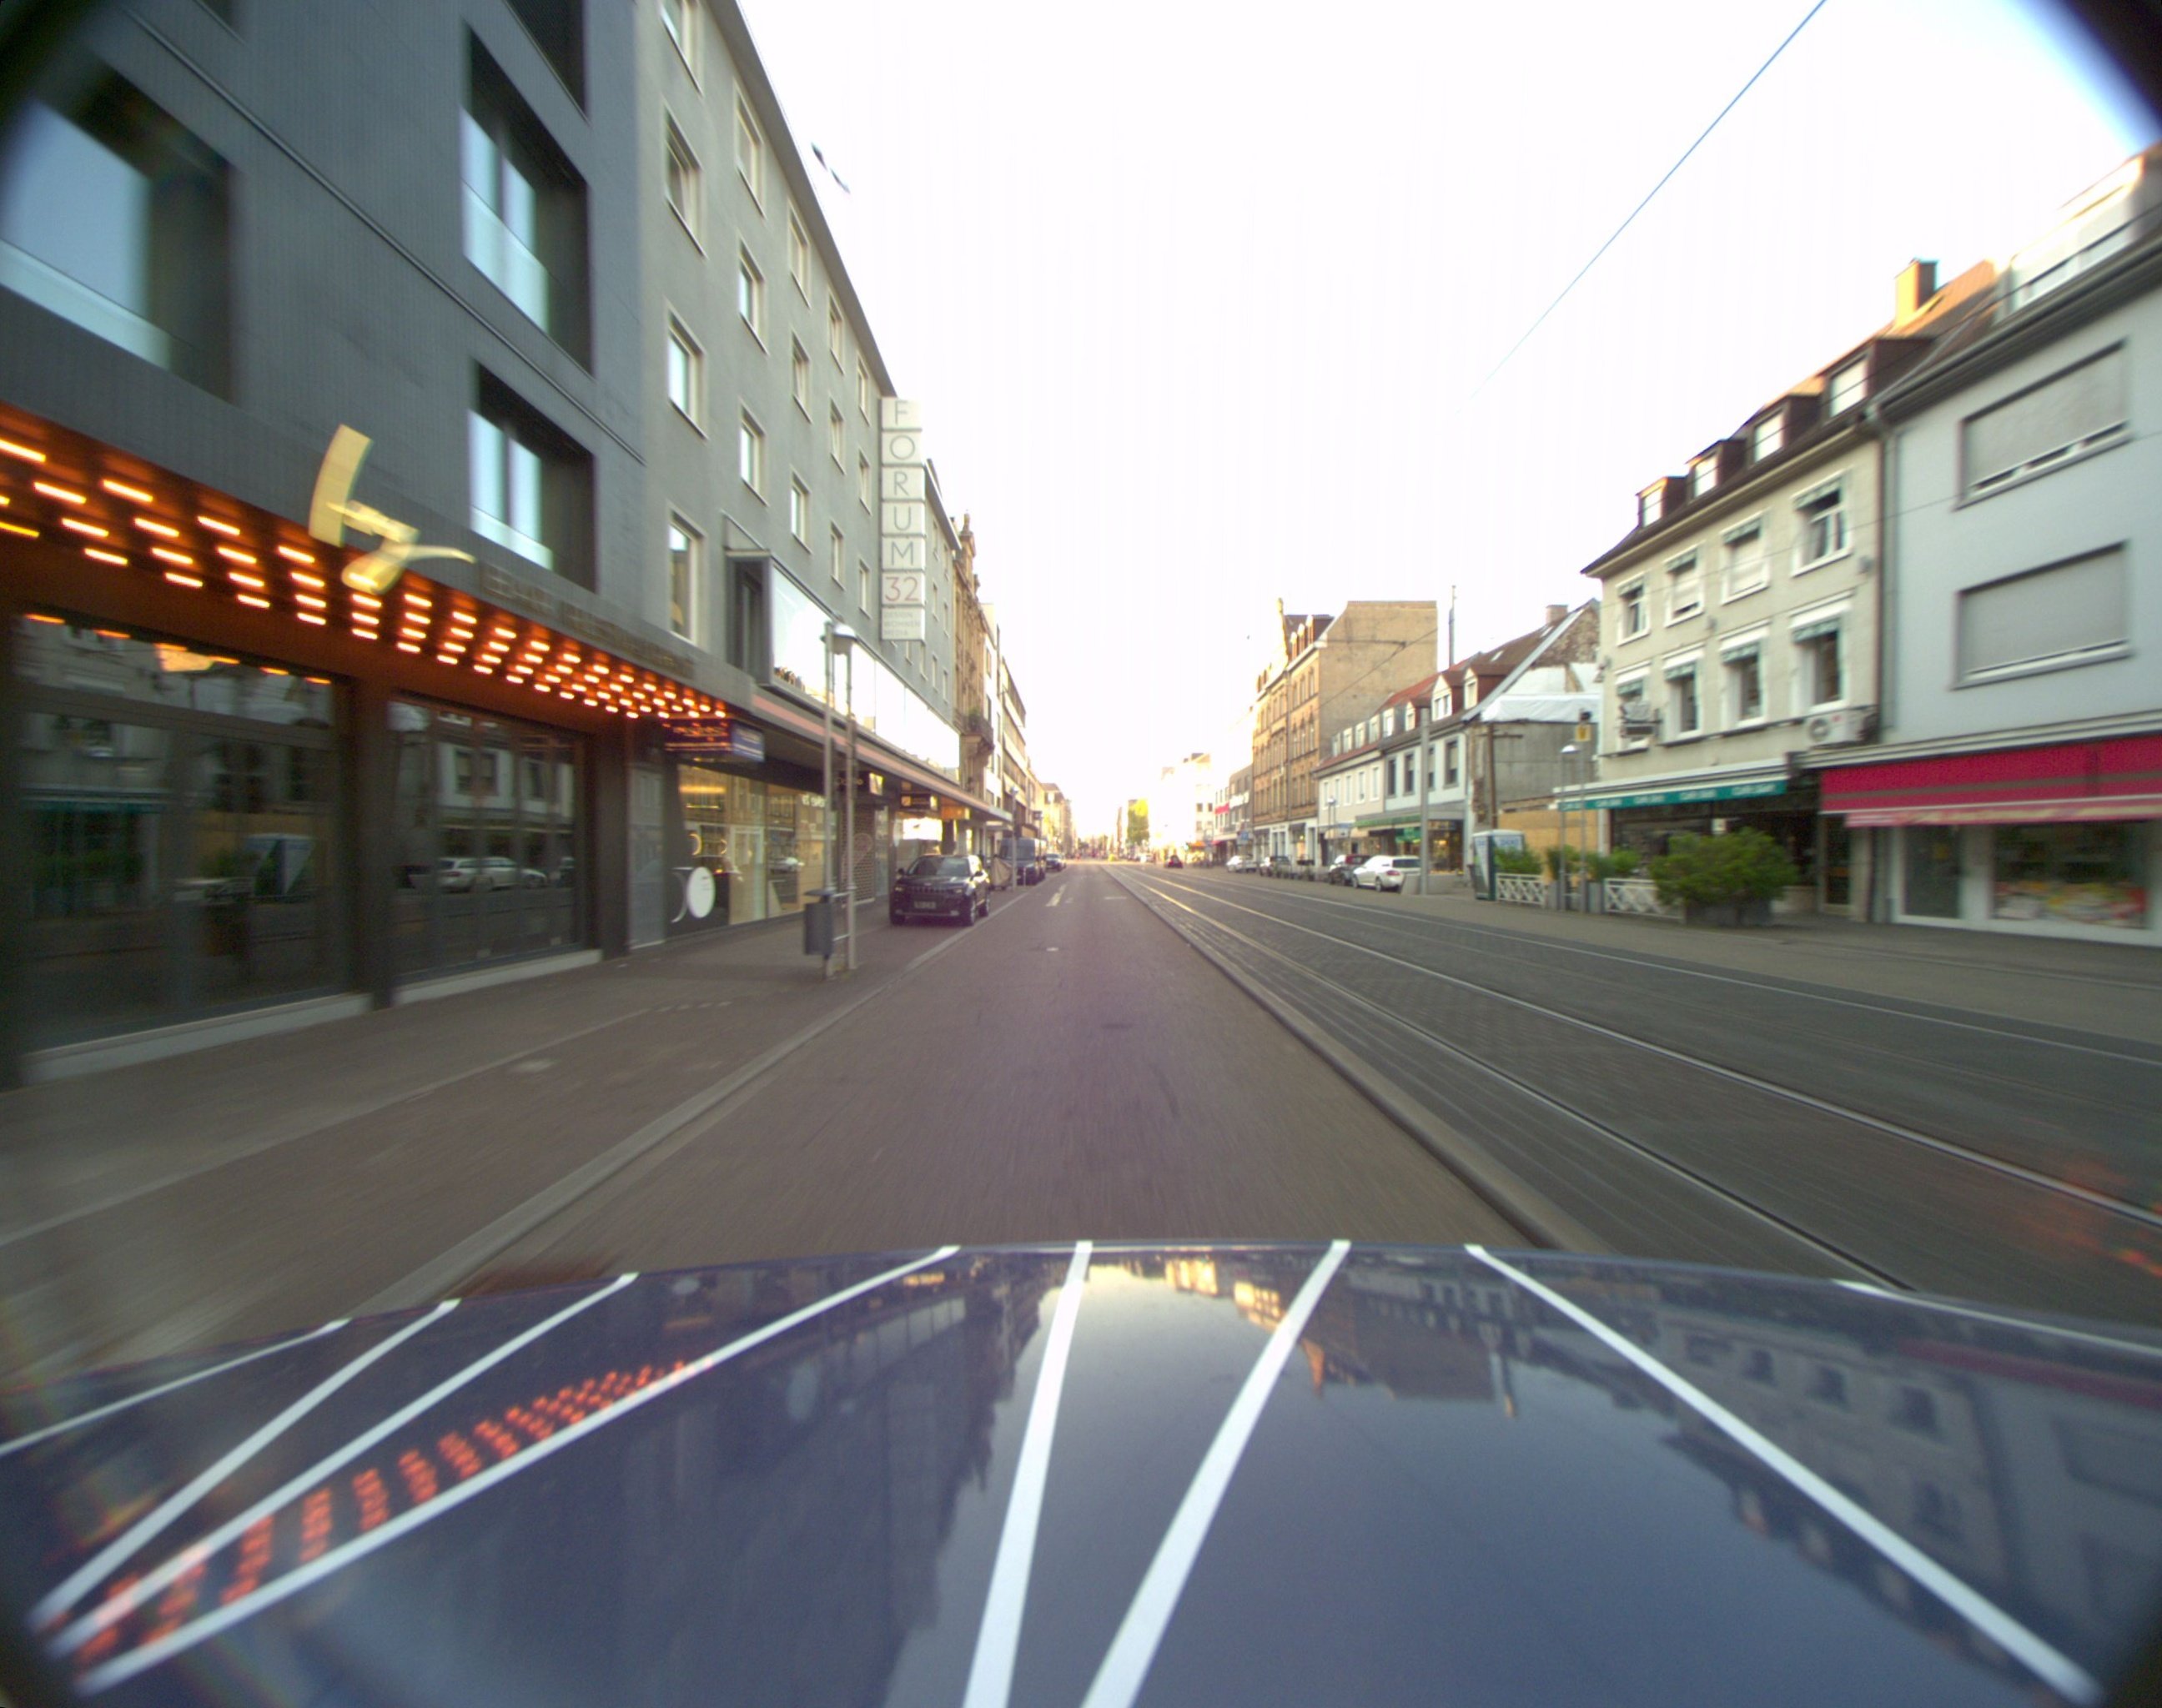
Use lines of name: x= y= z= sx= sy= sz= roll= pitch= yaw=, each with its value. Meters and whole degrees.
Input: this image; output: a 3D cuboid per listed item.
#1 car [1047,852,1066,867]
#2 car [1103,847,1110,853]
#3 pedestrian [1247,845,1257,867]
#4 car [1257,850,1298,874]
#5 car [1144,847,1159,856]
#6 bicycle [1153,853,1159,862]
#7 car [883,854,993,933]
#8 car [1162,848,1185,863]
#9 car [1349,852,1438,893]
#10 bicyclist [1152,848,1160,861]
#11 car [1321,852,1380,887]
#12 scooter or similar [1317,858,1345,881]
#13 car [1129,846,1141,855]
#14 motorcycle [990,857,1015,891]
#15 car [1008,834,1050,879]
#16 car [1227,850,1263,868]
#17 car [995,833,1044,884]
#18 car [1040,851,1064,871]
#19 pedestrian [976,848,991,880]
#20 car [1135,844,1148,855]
car: x=-2.607 y=0.542 z=81.790 sx=1.999 sy=1.538 sz=3.876 roll=-2 pitch=0 yaw=-1
car: x=7.385 y=-1.176 z=221.019 sx=1.998 sy=1.546 sz=3.682 roll=-2 pitch=1 yaw=2
pedestrian: x=16.157 y=0.180 z=71.784 sx=0.748 sy=2.002 sz=1.049 roll=-2 pitch=1 yaw=5
car: x=13.704 y=0.532 z=53.201 sx=1.846 sy=1.484 sz=3.815 roll=-2 pitch=1 yaw=1
car: x=11.437 y=-0.432 z=123.894 sx=1.999 sy=1.434 sz=3.999 roll=-2 pitch=1 yaw=0
bicycle: x=10.149 y=0.485 z=102.789 sx=0.493 sy=1.183 sz=2.265 roll=-2 pitch=1 yaw=0
car: x=-3.125 y=0.807 z=17.400 sx=1.744 sy=1.532 sz=3.965 roll=0 pitch=1 yaw=0
car: x=10.252 y=0.108 z=84.705 sx=1.999 sy=1.554 sz=3.999 roll=-2 pitch=1 yaw=0
car: x=13.266 y=0.733 z=32.568 sx=1.896 sy=1.547 sz=4.622 roll=-2 pitch=1 yaw=1
bicyclist: x=10.163 y=0.042 z=102.715 sx=0.882 sy=1.795 sz=0.900 roll=-2 pitch=1 yaw=1
car: x=13.251 y=0.710 z=37.566 sx=1.660 sy=1.562 sz=3.470 roll=-2 pitch=1 yaw=1
scooter or similar: x=13.346 y=0.840 z=40.568 sx=1.365 sy=1.161 sz=0.311 roll=-2 pitch=1 yaw=3
car: x=11.001 y=-0.773 z=155.286 sx=1.999 sy=1.685 sz=3.999 roll=-2 pitch=1 yaw=0
motorcycle: x=-3.348 y=0.822 z=32.742 sx=0.785 sy=1.396 sz=2.637 roll=1 pitch=0 yaw=0
car: x=-3.100 y=0.106 z=46.553 sx=1.998 sy=2.559 sz=5.604 roll=-2 pitch=1 yaw=1
car: x=13.986 y=0.420 z=65.189 sx=1.999 sy=1.412 sz=4.402 roll=-2 pitch=1 yaw=-2
car: x=-3.175 y=0.180 z=40.239 sx=2.080 sy=2.434 sz=5.603 roll=-2 pitch=1 yaw=-1
car: x=-2.563 y=0.587 z=68.929 sx=1.999 sy=1.663 sz=3.876 roll=-2 pitch=1 yaw=0
pedestrian: x=-5.539 y=0.559 z=43.168 sx=0.743 sy=1.746 sz=0.789 roll=2 pitch=1 yaw=-3
car: x=10.930 y=-0.821 z=138.458 sx=1.999 sy=1.830 sz=3.999 roll=-2 pitch=2 yaw=0
